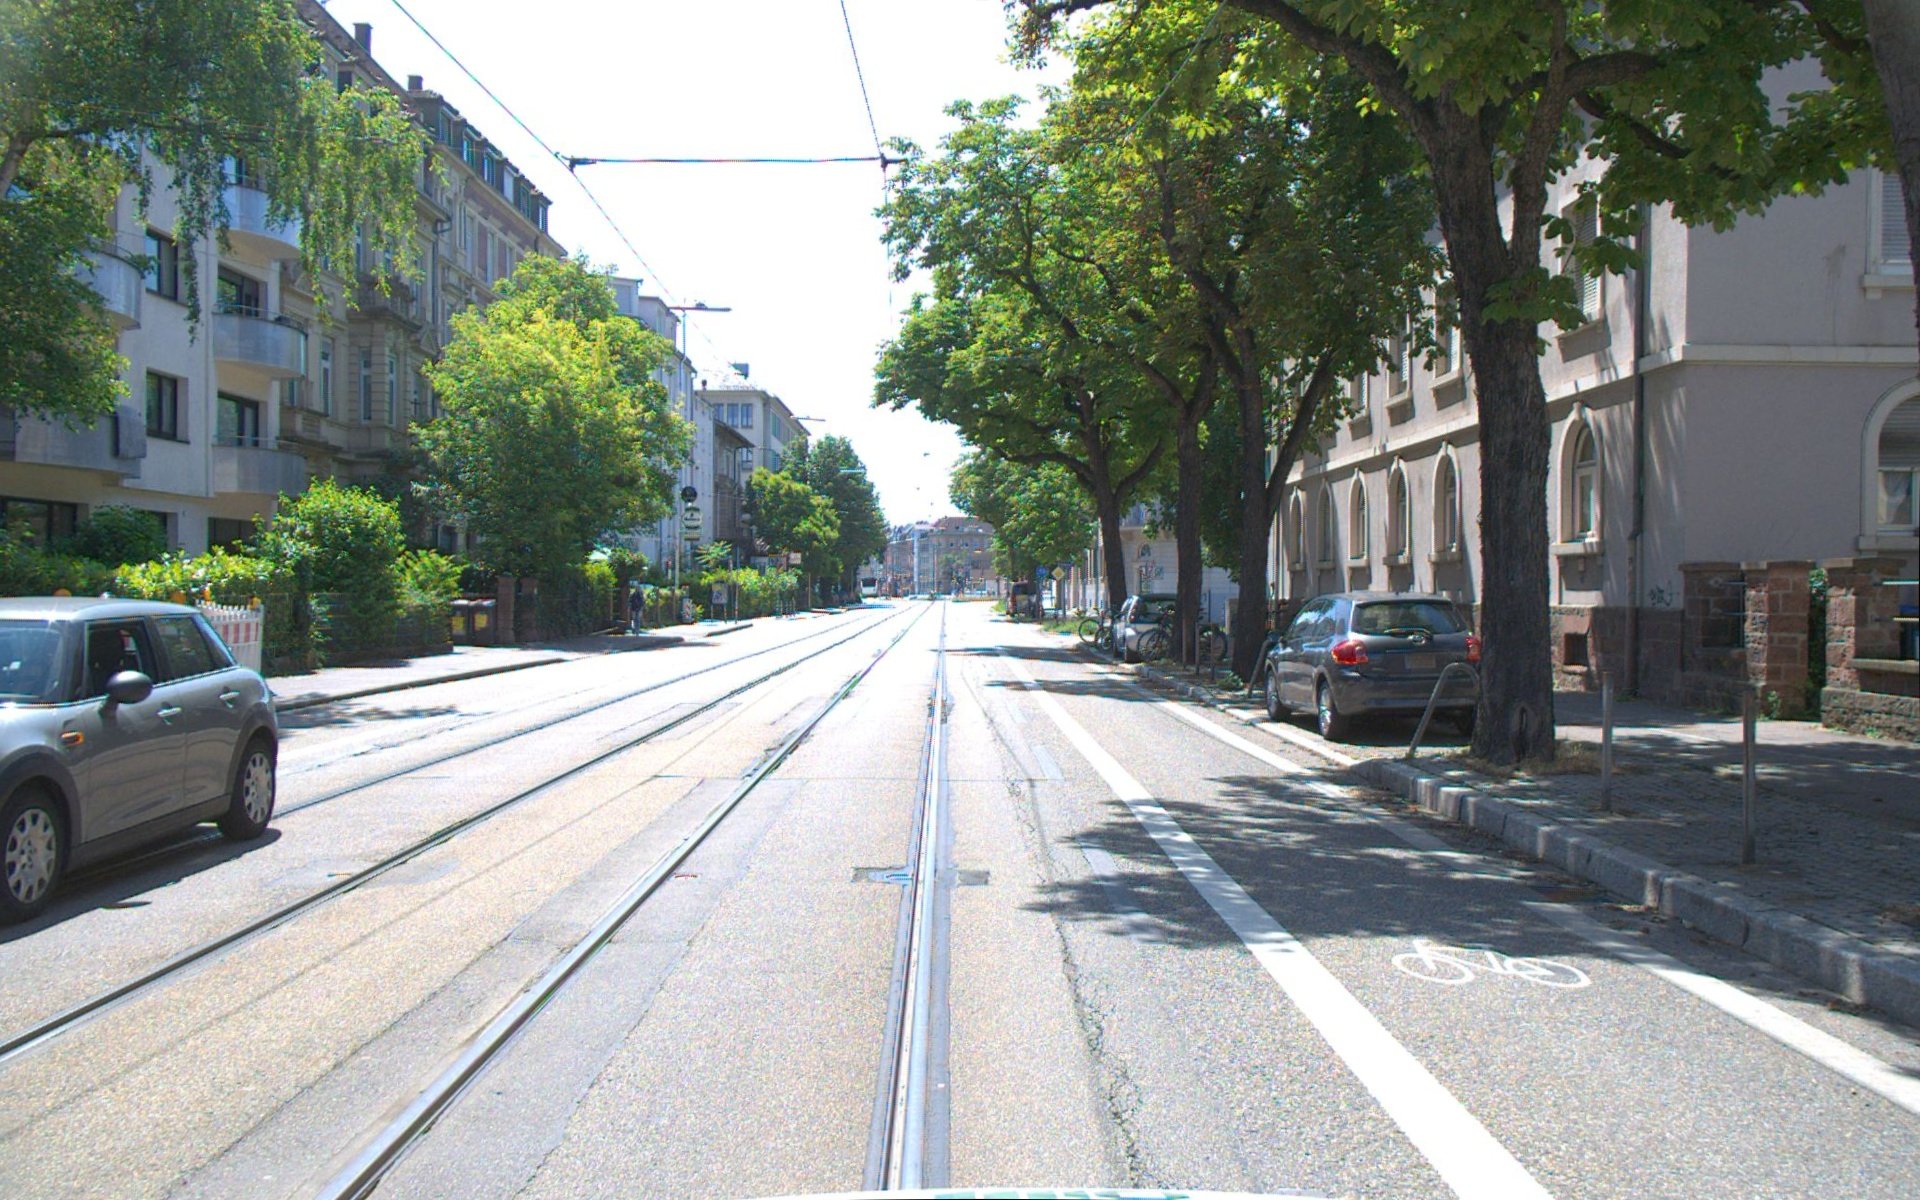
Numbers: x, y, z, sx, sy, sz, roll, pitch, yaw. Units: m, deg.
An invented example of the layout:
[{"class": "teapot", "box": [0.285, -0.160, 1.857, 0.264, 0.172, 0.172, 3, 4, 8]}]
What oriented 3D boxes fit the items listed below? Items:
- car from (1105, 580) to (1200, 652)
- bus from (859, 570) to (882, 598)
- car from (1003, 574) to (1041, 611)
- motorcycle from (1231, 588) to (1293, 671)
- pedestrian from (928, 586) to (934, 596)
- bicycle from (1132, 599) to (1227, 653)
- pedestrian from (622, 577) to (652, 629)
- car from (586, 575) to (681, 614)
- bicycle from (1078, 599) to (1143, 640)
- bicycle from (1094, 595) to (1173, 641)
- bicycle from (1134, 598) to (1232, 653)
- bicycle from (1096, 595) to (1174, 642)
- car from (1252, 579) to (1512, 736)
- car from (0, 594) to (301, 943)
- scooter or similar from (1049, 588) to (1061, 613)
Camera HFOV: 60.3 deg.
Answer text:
[{"class": "car", "box": [4.311, 0.353, 37.454, 1.589, 1.473, 3.809, -3, 0, -1]}, {"class": "bus", "box": [-13.737, -2.385, 254.008, 2.871, 4.005, 11.272, 2, 0, -1]}, {"class": "car", "box": [3.573, -0.468, 95.852, 1.952, 2.071, 4.696, 0, 1, -1]}, {"class": "motorcycle", "box": [5.060, 0.464, 27.746, 0.975, 1.322, 2.381, 0, 0, 10]}, {"class": "pedestrian", "box": [-3.468, -1.052, 196.549, 0.486, 1.193, 0.584, -1, 0, -30]}, {"class": "bicycle", "box": [4.356, 0.514, 32.821, 1.849, 1.070, 0.538, 0, 0, 6]}, {"class": "pedestrian", "box": [-10.425, 0.094, 53.373, 0.735, 1.657, 0.834, 0, 0, 3]}, {"class": "car", "box": [-16.796, -0.290, 85.106, 4.386, 1.937, 2.001, 0, 0, 16]}, {"class": "bicycle", "box": [4.273, 0.551, 47.037, 1.779, 1.133, 0.493, -1, -1, -1]}, {"class": "bicycle", "box": [4.453, 0.468, 42.517, 1.968, 1.133, 0.640, -1, -1, 1]}, {"class": "bicycle", "box": [4.474, 0.505, 33.239, 1.921, 1.082, 0.599, 0, 0, 6]}, {"class": "bicycle", "box": [4.428, 0.471, 41.902, 1.922, 1.133, 0.599, -1, -1, 1]}, {"class": "car", "box": [4.653, 0.554, 18.888, 1.738, 1.527, 4.304, -1, 1, -2]}, {"class": "car", "box": [-4.966, 0.712, 8.618, 1.652, 1.480, 3.747, 0, 0, -2]}, {"class": "scooter or similar", "box": [4.800, -0.003, 83.833, 0.491, 1.251, 1.573, 0, 0, -1]}]
